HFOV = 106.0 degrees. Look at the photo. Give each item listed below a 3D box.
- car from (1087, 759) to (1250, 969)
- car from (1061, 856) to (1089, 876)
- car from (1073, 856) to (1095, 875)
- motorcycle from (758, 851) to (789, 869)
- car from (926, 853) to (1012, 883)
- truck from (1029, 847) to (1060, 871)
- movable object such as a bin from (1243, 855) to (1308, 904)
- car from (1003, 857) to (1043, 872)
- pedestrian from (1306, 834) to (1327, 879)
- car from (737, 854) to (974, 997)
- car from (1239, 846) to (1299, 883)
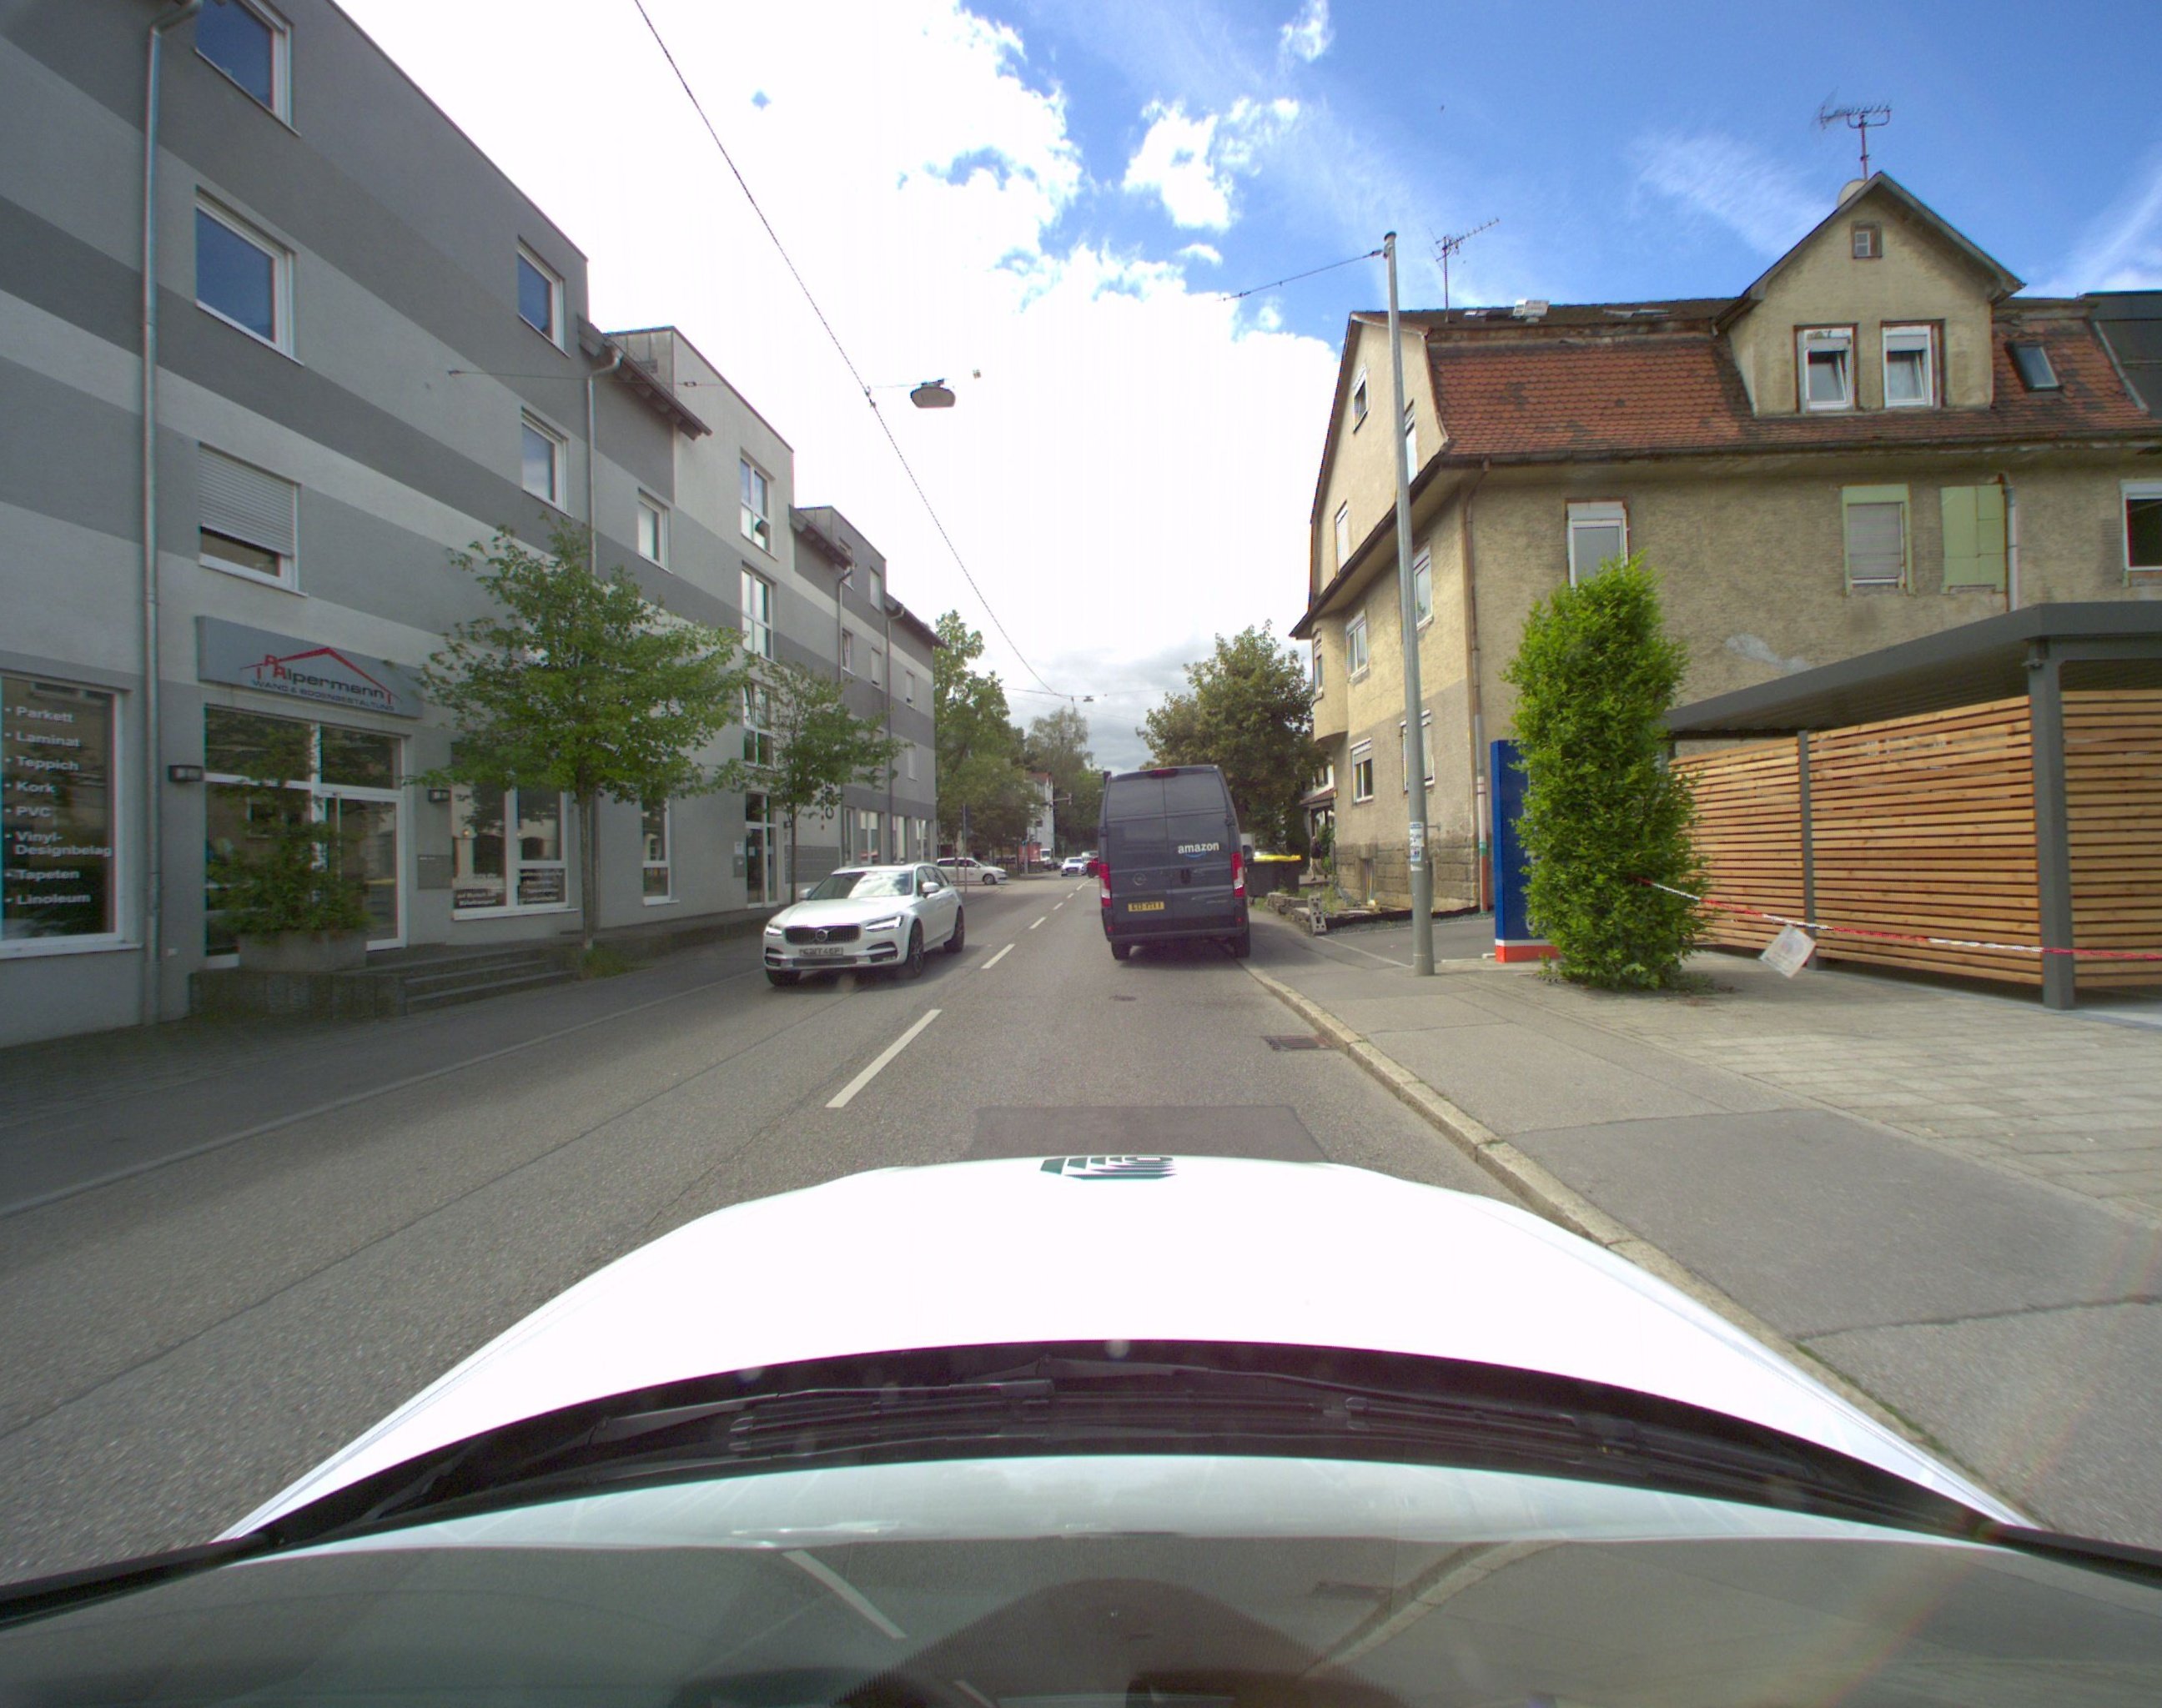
[{"bbox_3d":[1.747,0.154,14.016,2.134,2.770,6.268,-1,0,11],"label":"car"},{"bbox_3d":[-0.444,0.897,62.673,1.866,1.424,4.119,-1,0,4],"label":"car"},{"bbox_3d":[0.330,1.001,72.133,1.721,1.538,4.003,-1,0,3],"label":"car"},{"bbox_3d":[-17.628,0.329,46.795,1.201,1.004,2.332,0,0,-9],"label":"motorcycle"},{"bbox_3d":[-5.917,0.752,43.287,4.193,1.513,1.824,0,1,3],"label":"car"},{"bbox_3d":[-3.728,0.533,84.402,2.212,2.380,6.337,-1,-1,7],"label":"truck"},{"bbox_3d":[5.208,0.669,21.849,1.189,1.266,1.198,-1,-1,-28],"label":"movable object such as a bin"},{"bbox_3d":[-5.472,0.974,77.172,3.680,1.425,1.805,0,0,0],"label":"car"},{"bbox_3d":[9.412,0.106,32.521,0.735,1.782,0.903,-1,-1,13],"label":"pedestrian"},{"bbox_3d":[-2.961,0.850,11.951,1.890,1.559,4.803,-4,0,2],"label":"car"},{"bbox_3d":[9.254,0.472,39.918,1.735,1.517,4.104,-5,-1,28],"label":"car"}]
